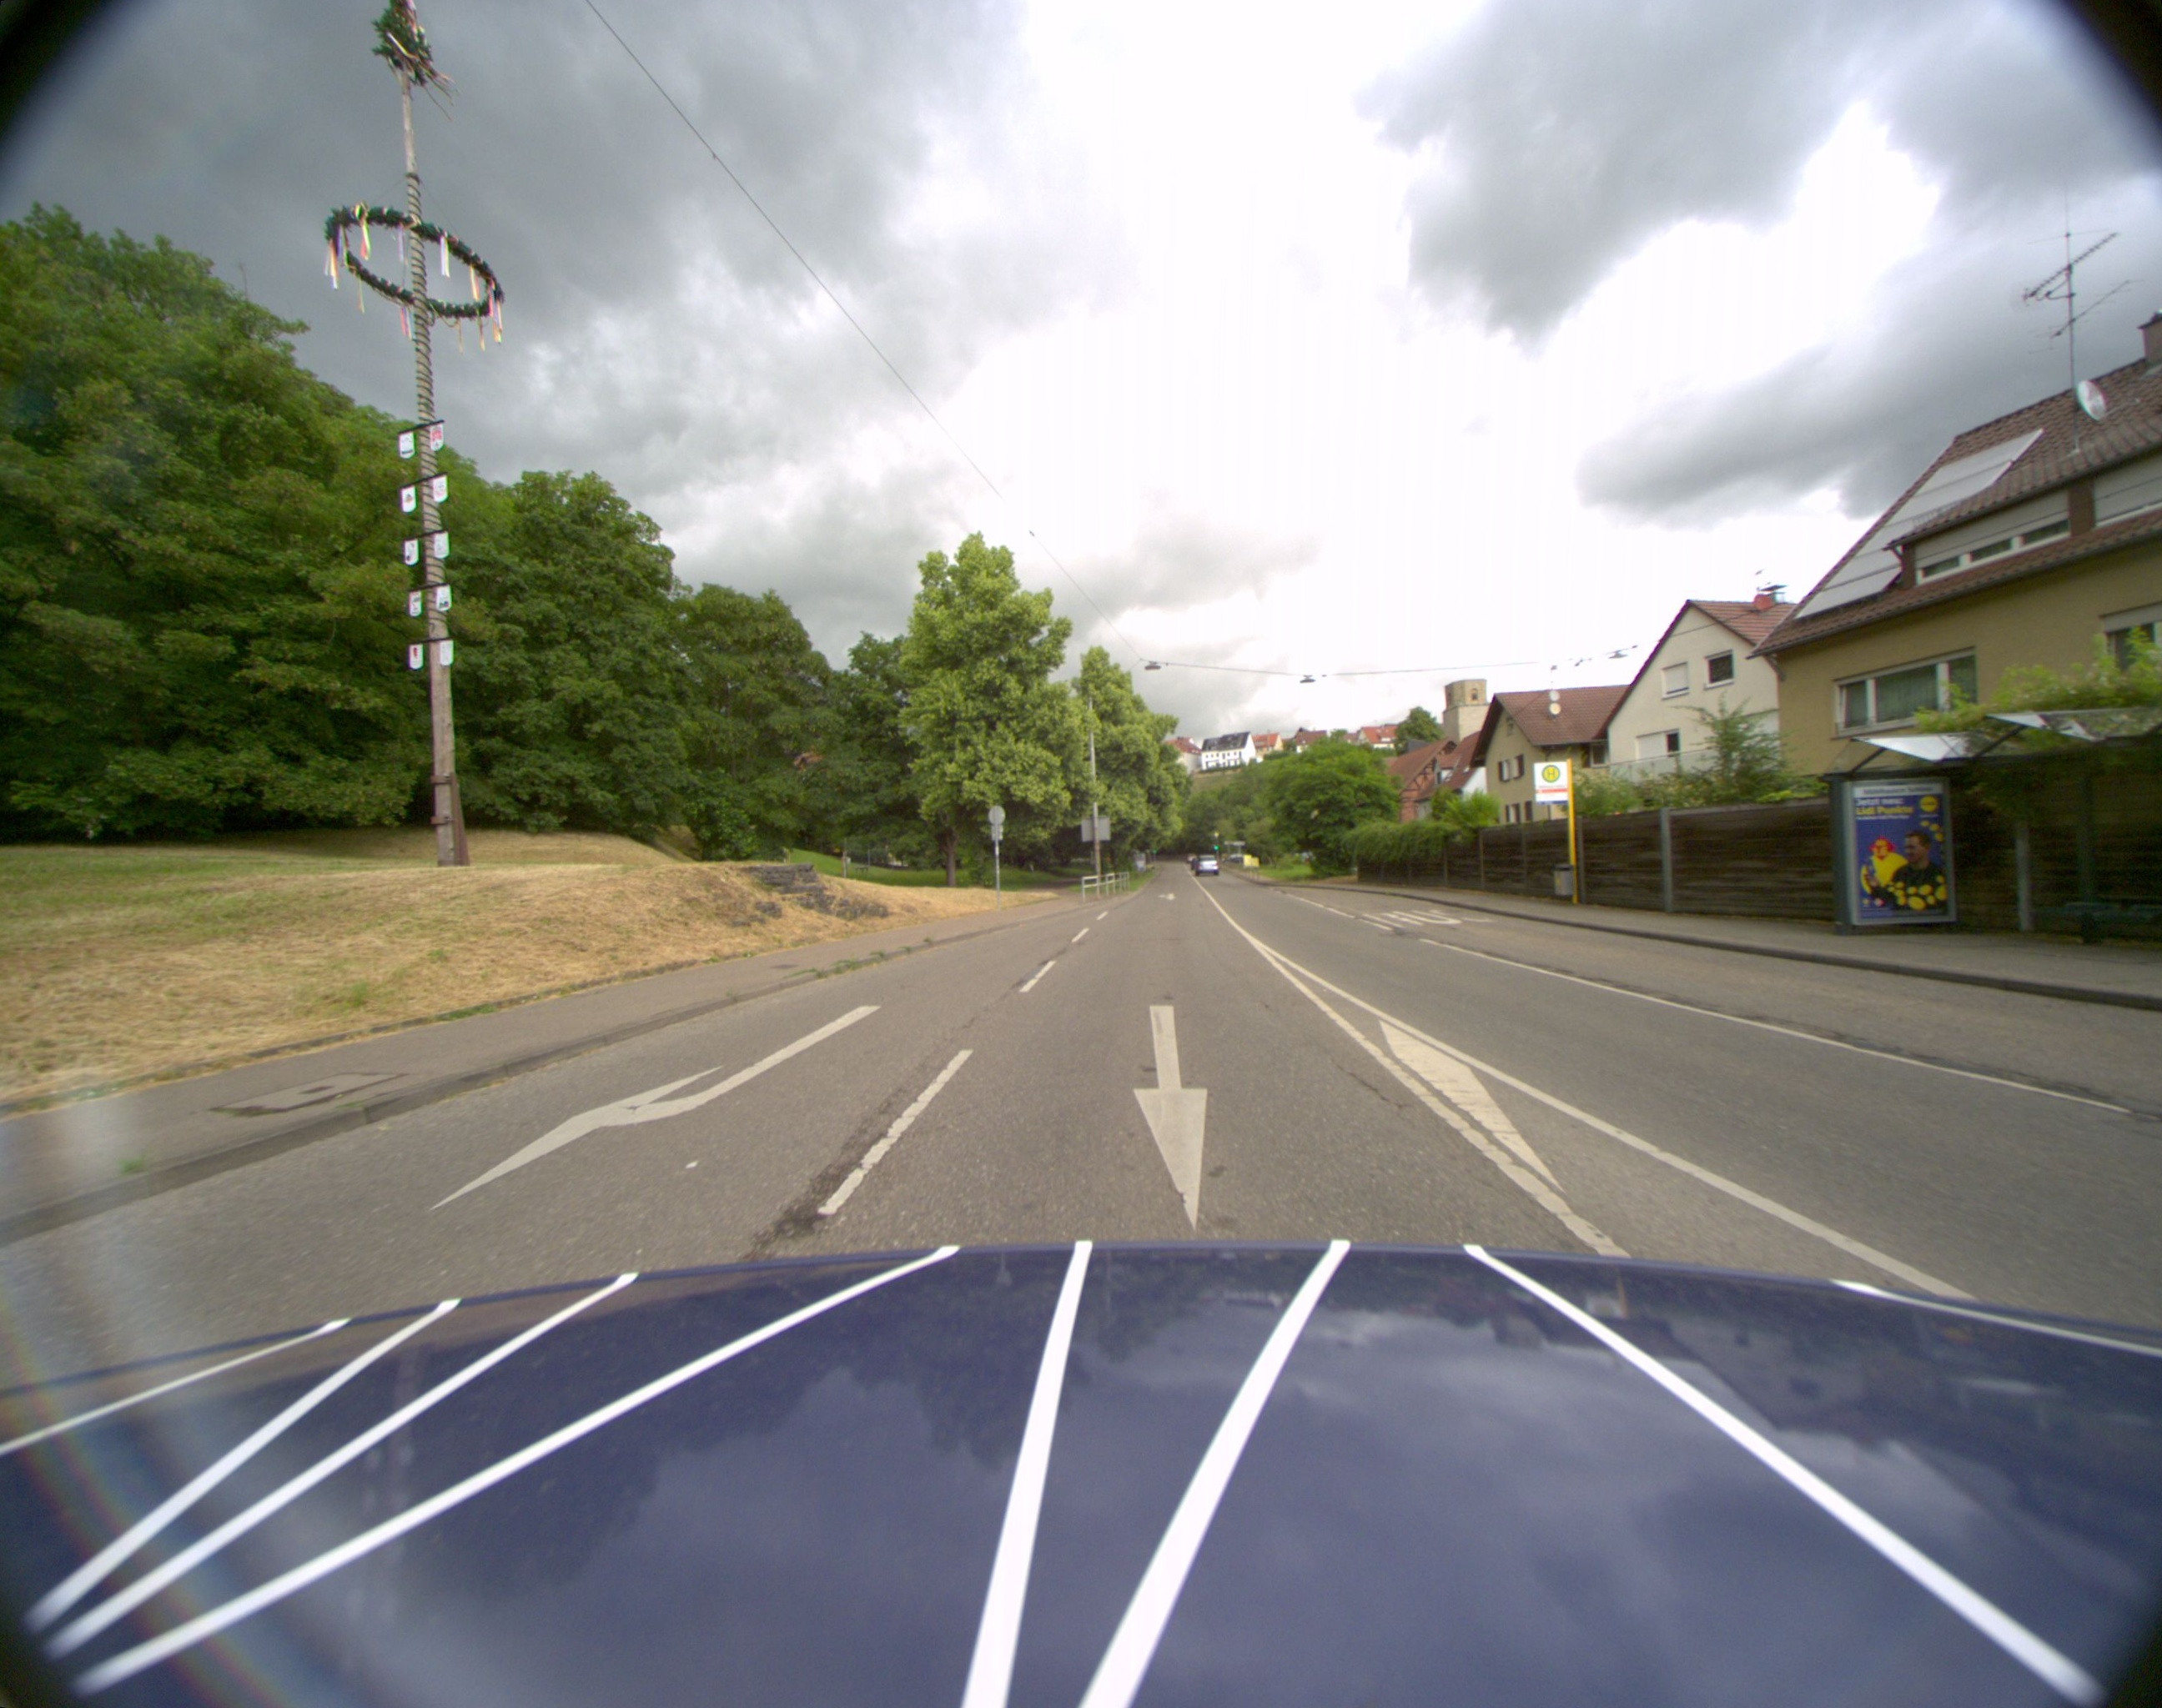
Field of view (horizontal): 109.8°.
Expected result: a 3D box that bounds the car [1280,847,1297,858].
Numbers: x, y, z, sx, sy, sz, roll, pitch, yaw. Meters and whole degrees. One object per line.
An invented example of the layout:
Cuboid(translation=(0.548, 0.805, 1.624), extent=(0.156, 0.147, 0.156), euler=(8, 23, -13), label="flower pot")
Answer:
Cuboid(translation=(27.306, -0.215, 100.125), extent=(1.648, 1.337, 4.154), euler=(-1, 0, 7), label="car")

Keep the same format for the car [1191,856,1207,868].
Cuboid(translation=(14.266, 0.965, 91.954), extent=(1.719, 1.460, 4.101), euler=(-1, 0, 6), label="car")

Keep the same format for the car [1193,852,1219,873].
Cuboid(translation=(10.950, 0.752, 66.700), extent=(1.939, 1.713, 4.694), euler=(-1, 0, 6), label="car")

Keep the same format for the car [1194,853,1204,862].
Cuboid(translation=(20.280, 0.615, 130.692), extent=(1.708, 1.503, 4.002), euler=(-1, 0, 7), label="car")
